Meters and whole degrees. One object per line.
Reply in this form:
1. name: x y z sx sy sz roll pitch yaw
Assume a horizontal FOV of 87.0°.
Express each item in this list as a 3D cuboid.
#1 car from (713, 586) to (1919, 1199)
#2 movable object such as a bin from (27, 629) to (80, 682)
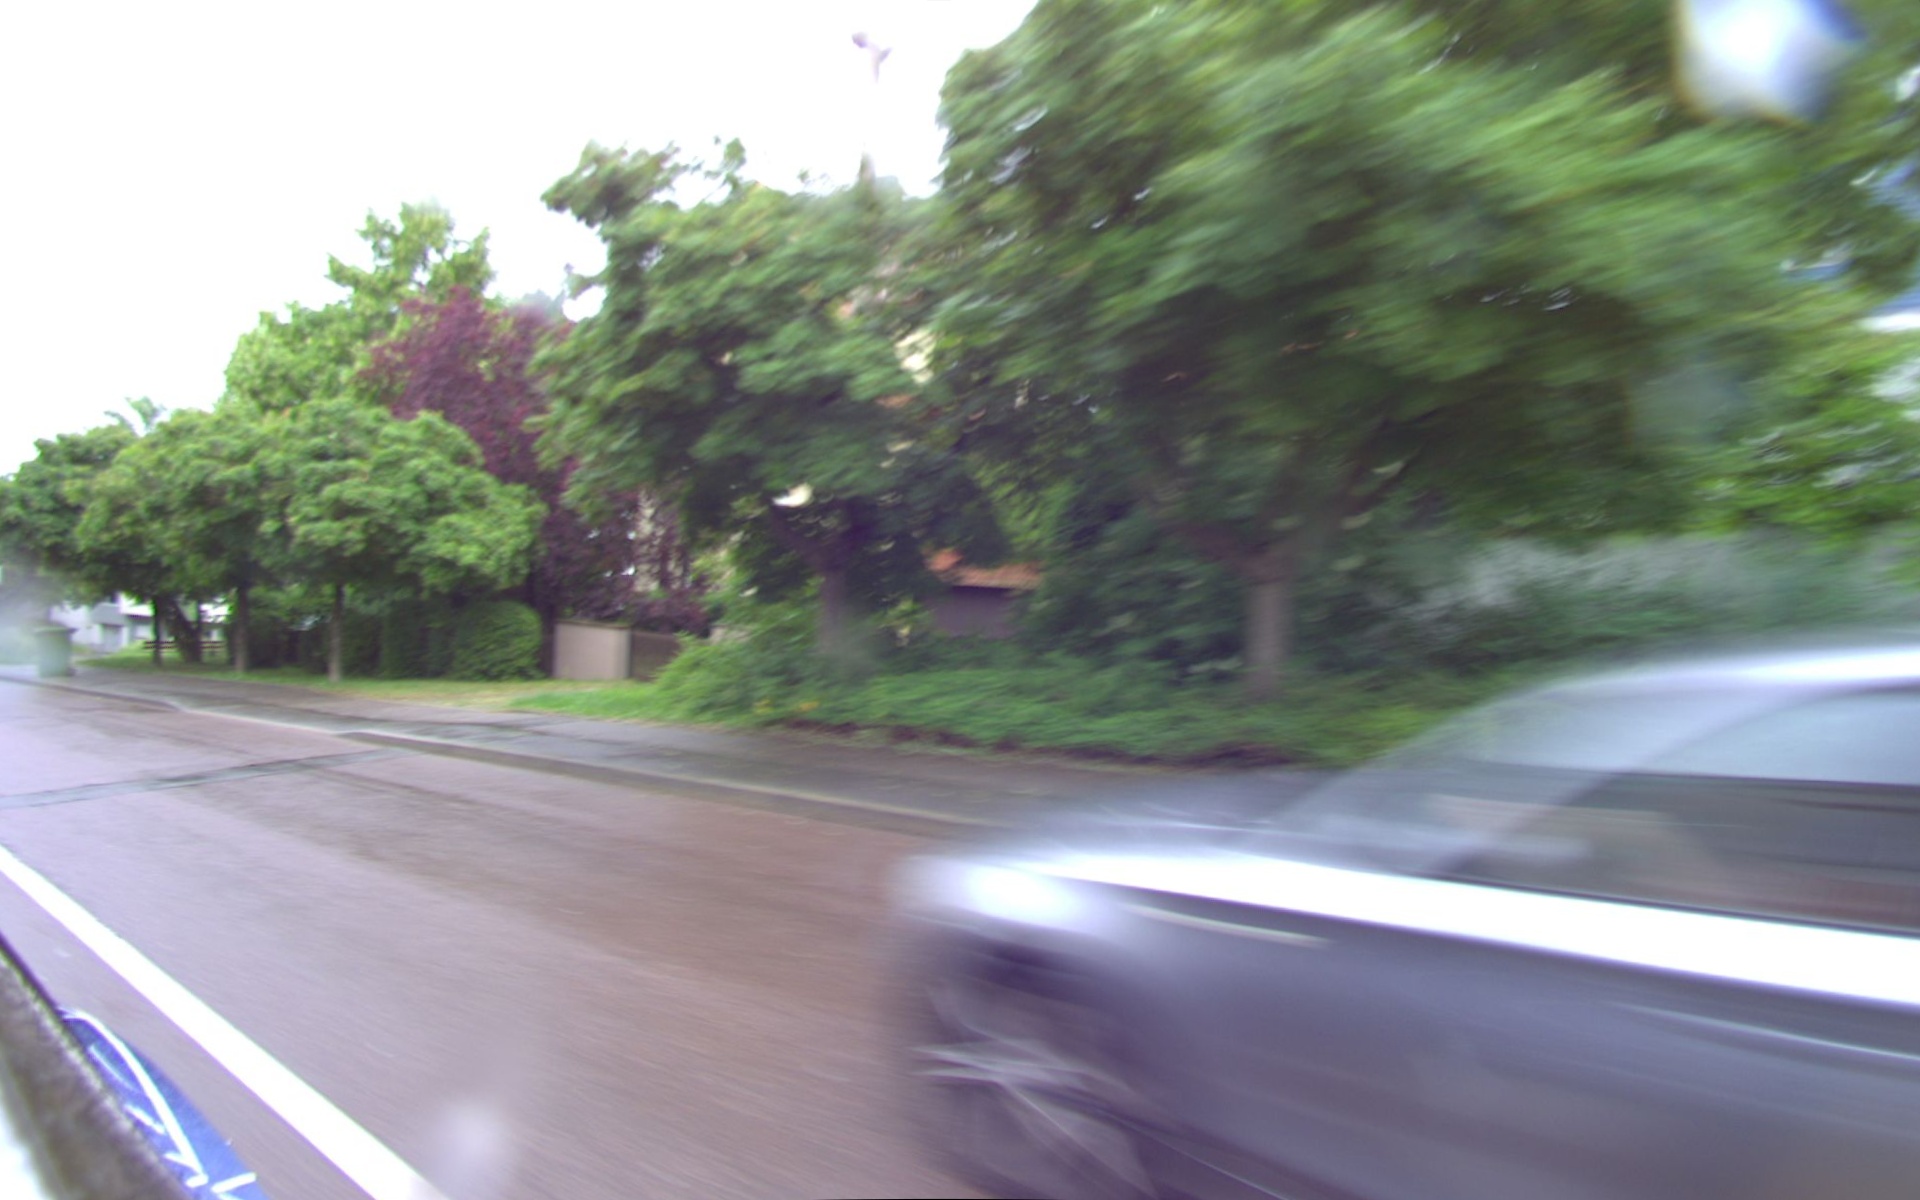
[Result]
1. car: 1.327 0.702 2.363 3.898 1.433 1.800 -1 0 41
2. movable object such as a bin: -19.910 1.213 22.234 0.756 1.108 0.714 -1 1 38
